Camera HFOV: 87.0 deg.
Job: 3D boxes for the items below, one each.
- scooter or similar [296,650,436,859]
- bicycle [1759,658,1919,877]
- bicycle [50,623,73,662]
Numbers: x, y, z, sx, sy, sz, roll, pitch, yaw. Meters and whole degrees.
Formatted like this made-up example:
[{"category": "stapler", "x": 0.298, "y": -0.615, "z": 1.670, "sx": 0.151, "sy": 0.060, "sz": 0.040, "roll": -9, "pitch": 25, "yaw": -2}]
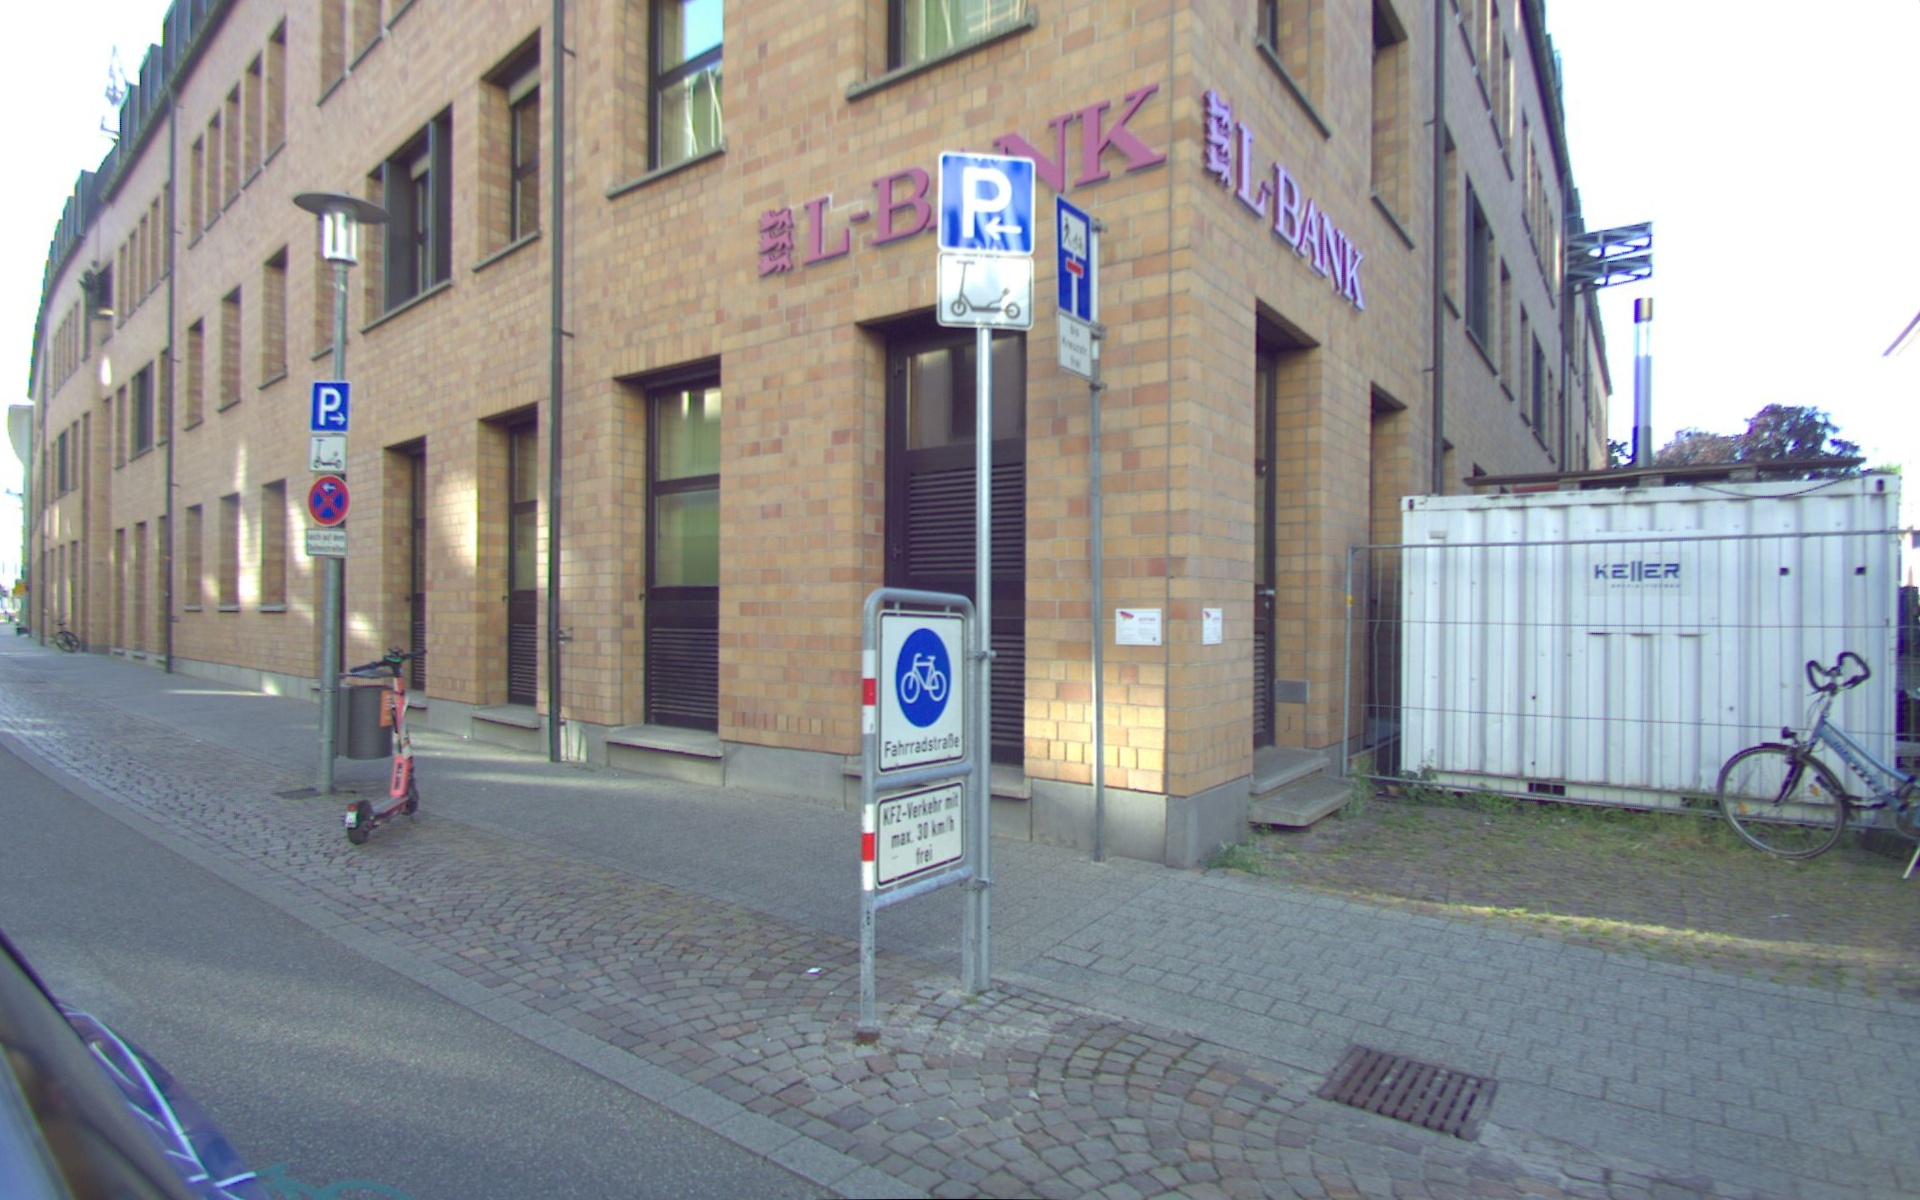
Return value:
[{"category": "scooter or similar", "x": -3.906, "y": 0.955, "z": 6.740, "sx": 0.460, "sy": 1.234, "sz": 1.303, "roll": 1, "pitch": -2, "yaw": -16}, {"category": "bicycle", "x": 5.452, "y": 0.934, "z": 5.571, "sx": 0.424, "sy": 1.153, "sz": 1.595, "roll": 0, "pitch": 0, "yaw": -34}, {"category": "bicycle", "x": -27.186, "y": 1.272, "z": 30.611, "sx": 0.425, "sy": 1.153, "sz": 1.691, "roll": 0, "pitch": 0, "yaw": -45}]
